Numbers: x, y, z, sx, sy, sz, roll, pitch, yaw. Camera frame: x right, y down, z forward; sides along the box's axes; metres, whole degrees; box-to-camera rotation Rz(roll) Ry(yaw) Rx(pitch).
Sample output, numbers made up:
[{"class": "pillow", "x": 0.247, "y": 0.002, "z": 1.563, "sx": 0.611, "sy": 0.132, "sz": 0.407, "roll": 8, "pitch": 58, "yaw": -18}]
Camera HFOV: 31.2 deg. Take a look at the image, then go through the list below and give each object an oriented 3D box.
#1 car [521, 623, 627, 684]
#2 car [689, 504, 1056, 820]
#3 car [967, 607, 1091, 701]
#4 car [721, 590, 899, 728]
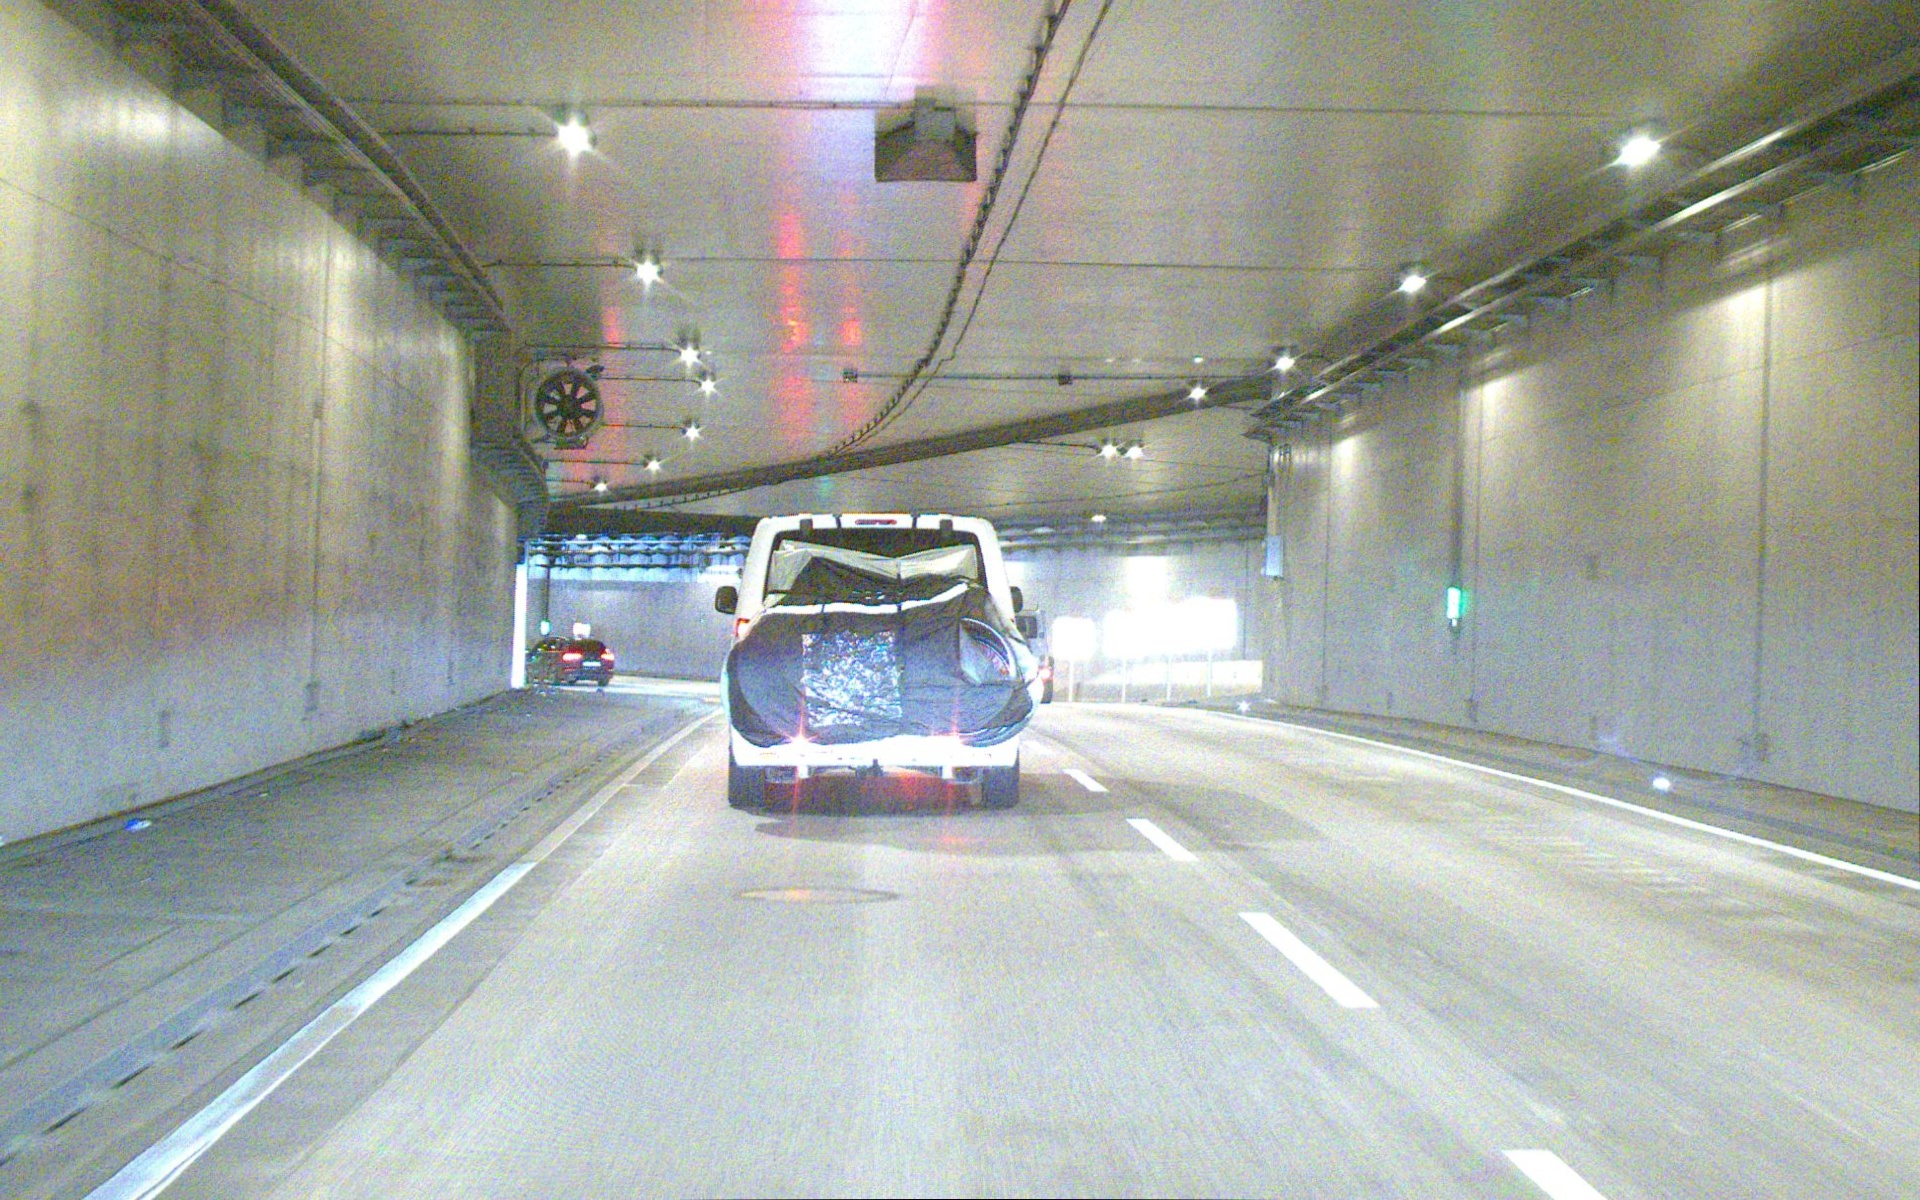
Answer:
[{"class": "car", "x": -11.488, "y": 1.575, "z": 102.170, "sx": 1.822, "sy": 1.625, "sz": 3.844, "roll": 3, "pitch": -1, "yaw": -27}, {"class": "car", "x": -0.715, "y": 0.340, "z": 22.757, "sx": 1.993, "sy": 1.841, "sz": 5.302, "roll": 0, "pitch": 0, "yaw": -6}, {"class": "car", "x": 1.219, "y": 0.951, "z": 61.851, "sx": 1.602, "sy": 1.625, "sz": 3.356, "roll": 0, "pitch": 0, "yaw": -10}, {"class": "car", "x": -1.654, "y": 0.612, "z": 37.002, "sx": 1.602, "sy": 1.391, "sz": 3.278, "roll": 1, "pitch": 0, "yaw": -8}]
